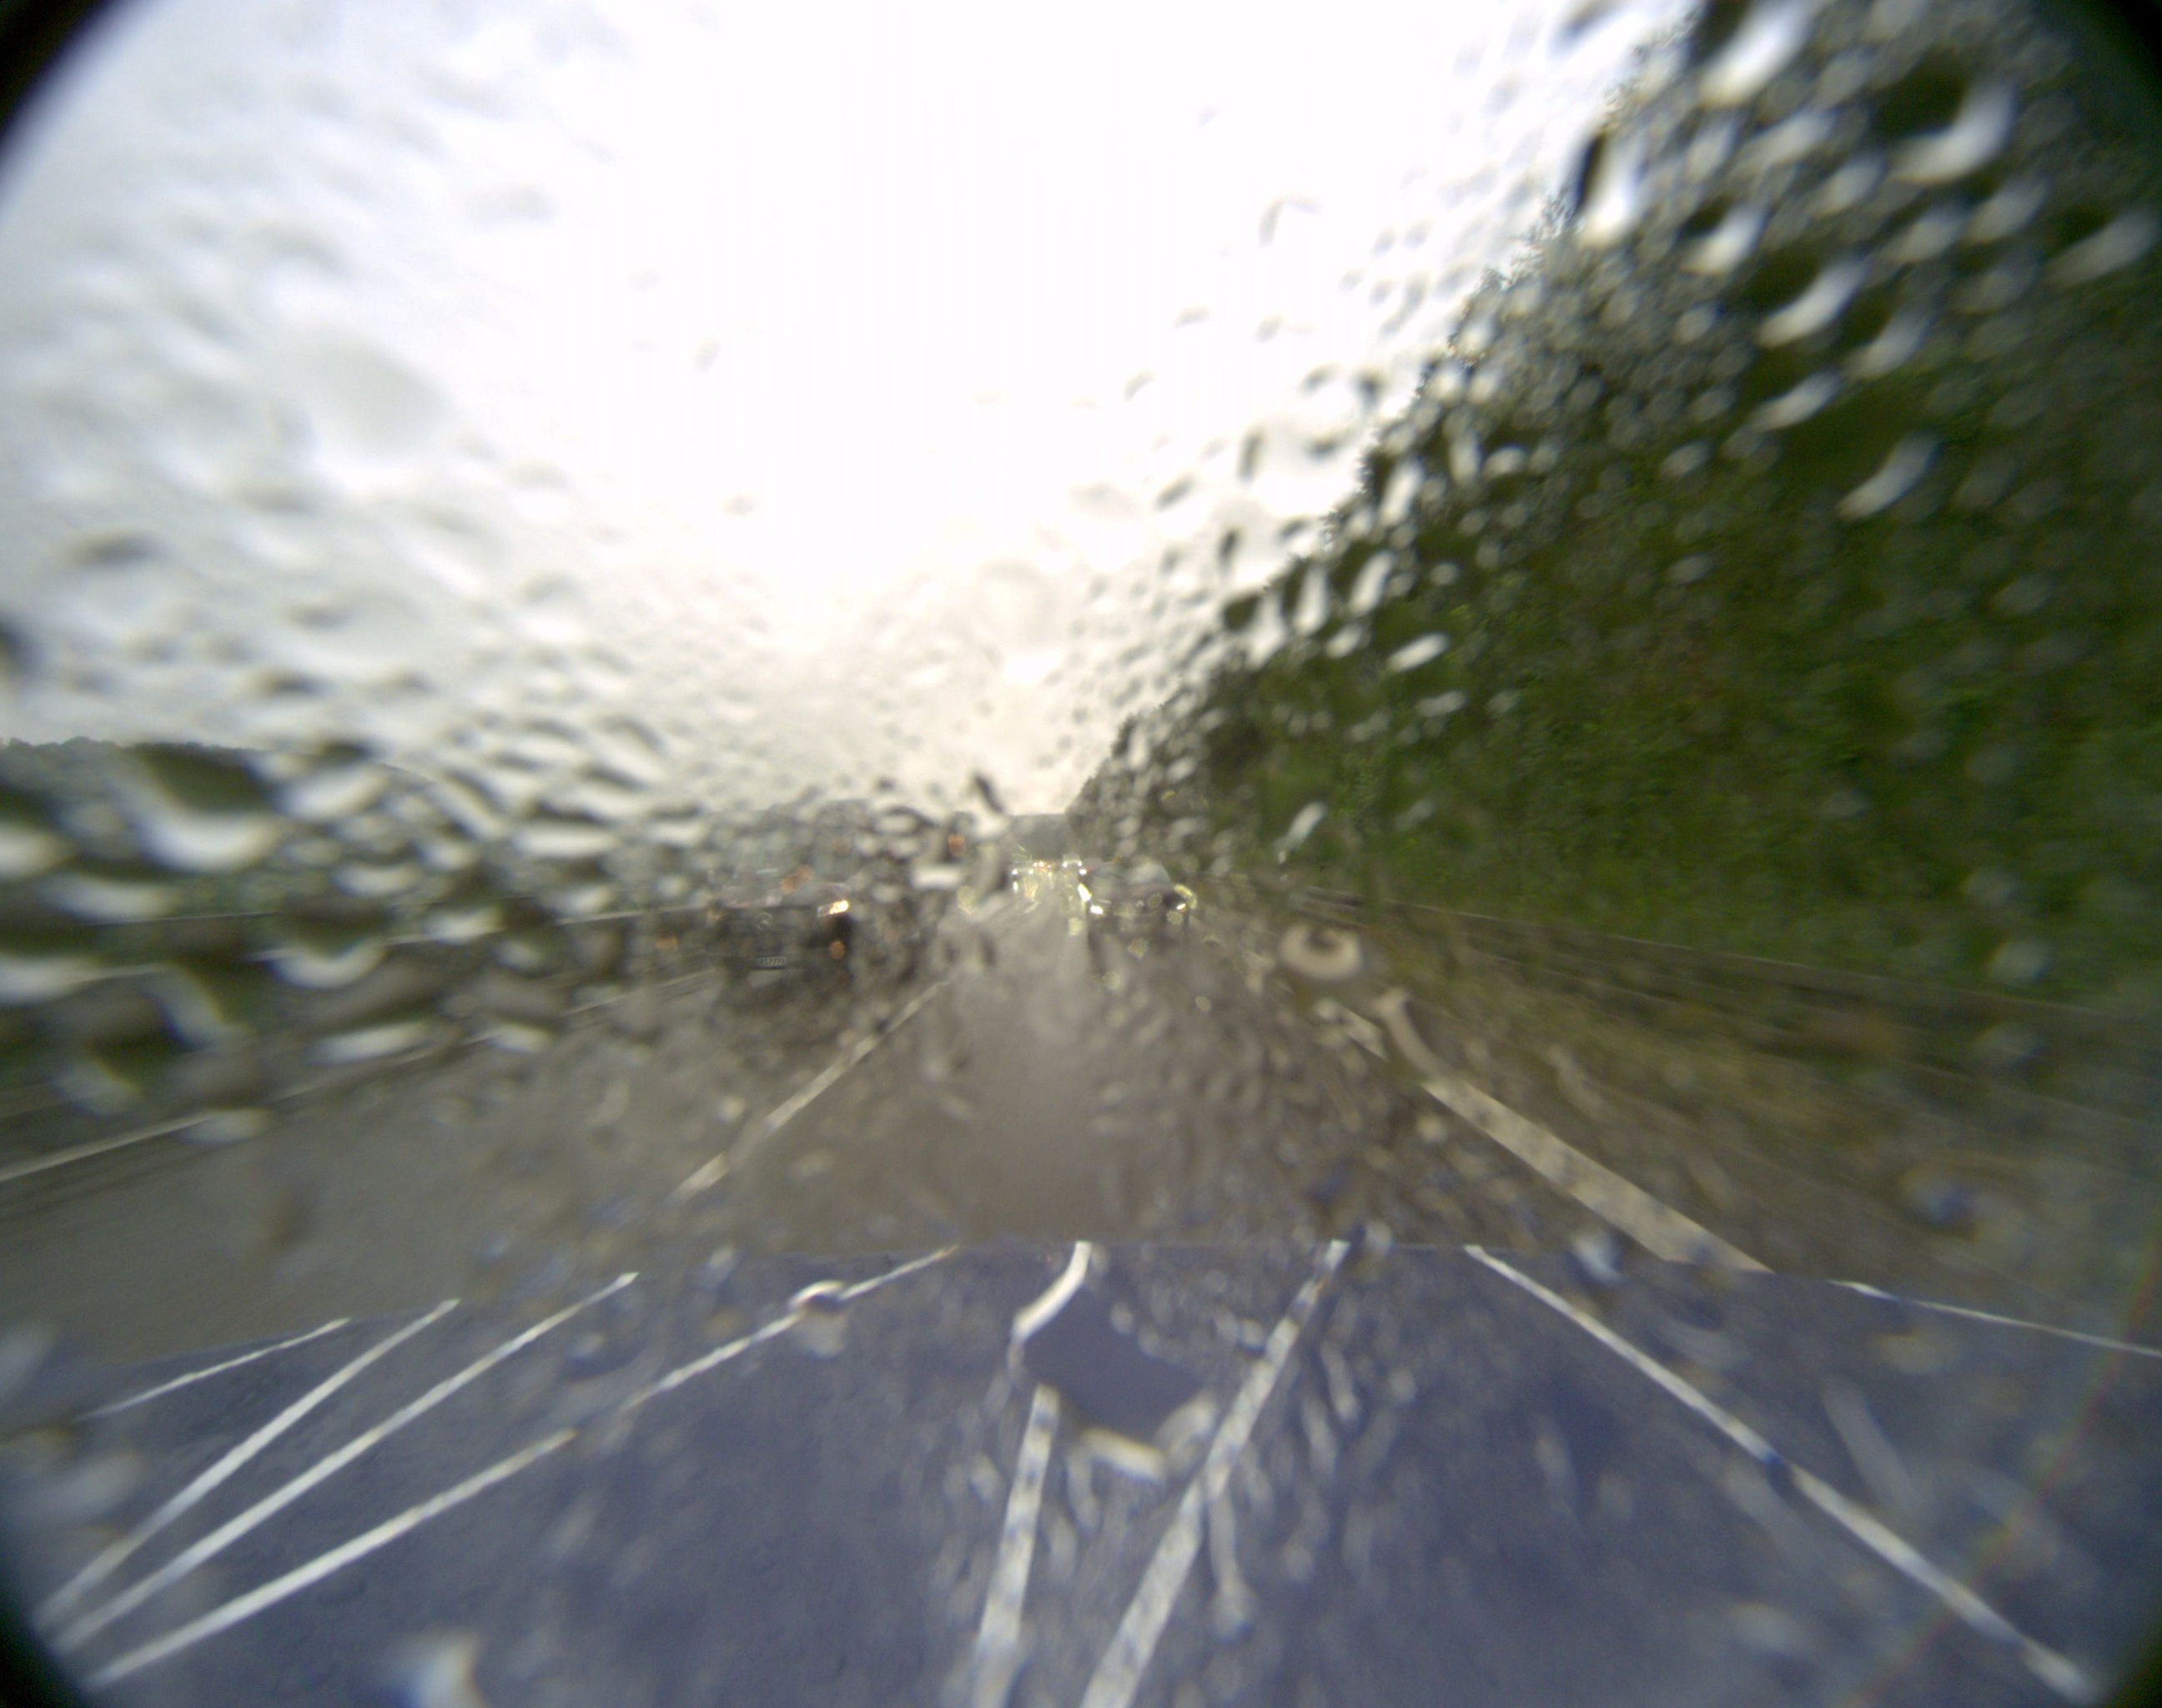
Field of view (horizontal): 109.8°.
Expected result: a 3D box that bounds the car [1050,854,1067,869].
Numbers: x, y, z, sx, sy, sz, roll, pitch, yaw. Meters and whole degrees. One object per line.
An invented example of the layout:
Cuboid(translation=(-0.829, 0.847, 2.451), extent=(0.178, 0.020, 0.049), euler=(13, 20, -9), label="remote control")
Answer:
Cuboid(translation=(-2.751, 0.875, 93.371), extent=(1.806, 1.723, 3.764), euler=(-2, 0, -6), label="car")

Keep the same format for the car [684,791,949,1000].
Cuboid(translation=(-3.804, 0.519, 12.619), extent=(1.999, 2.479, 6.705), euler=(-2, 0, 0), label="car")

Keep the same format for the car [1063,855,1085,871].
Cuboid(translation=(-0.739, 0.926, 79.462), extent=(1.907, 1.545, 4.562), euler=(-2, 0, -5), label="car")

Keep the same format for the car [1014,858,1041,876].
Cuboid(translation=(-4.357, 1.050, 62.605), extent=(1.991, 1.407, 4.563), euler=(-2, 0, -2), label="car")

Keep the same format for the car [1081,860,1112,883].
Cuboid(translation=(0.937, 1.054, 47.406), extent=(1.713, 1.316, 3.944), euler=(-2, 0, -2), label="car")

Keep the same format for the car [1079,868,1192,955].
Cuboid(translation=(0.947, 0.998, 14.679), extent=(1.839, 1.316, 4.135), euler=(-2, 0, 1), label="car")

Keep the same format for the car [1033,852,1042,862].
Cuboid(translation=(-8.794, 0.605, 153.125), extent=(1.577, 1.809, 3.505), euler=(0, 0, -6), label="car")
